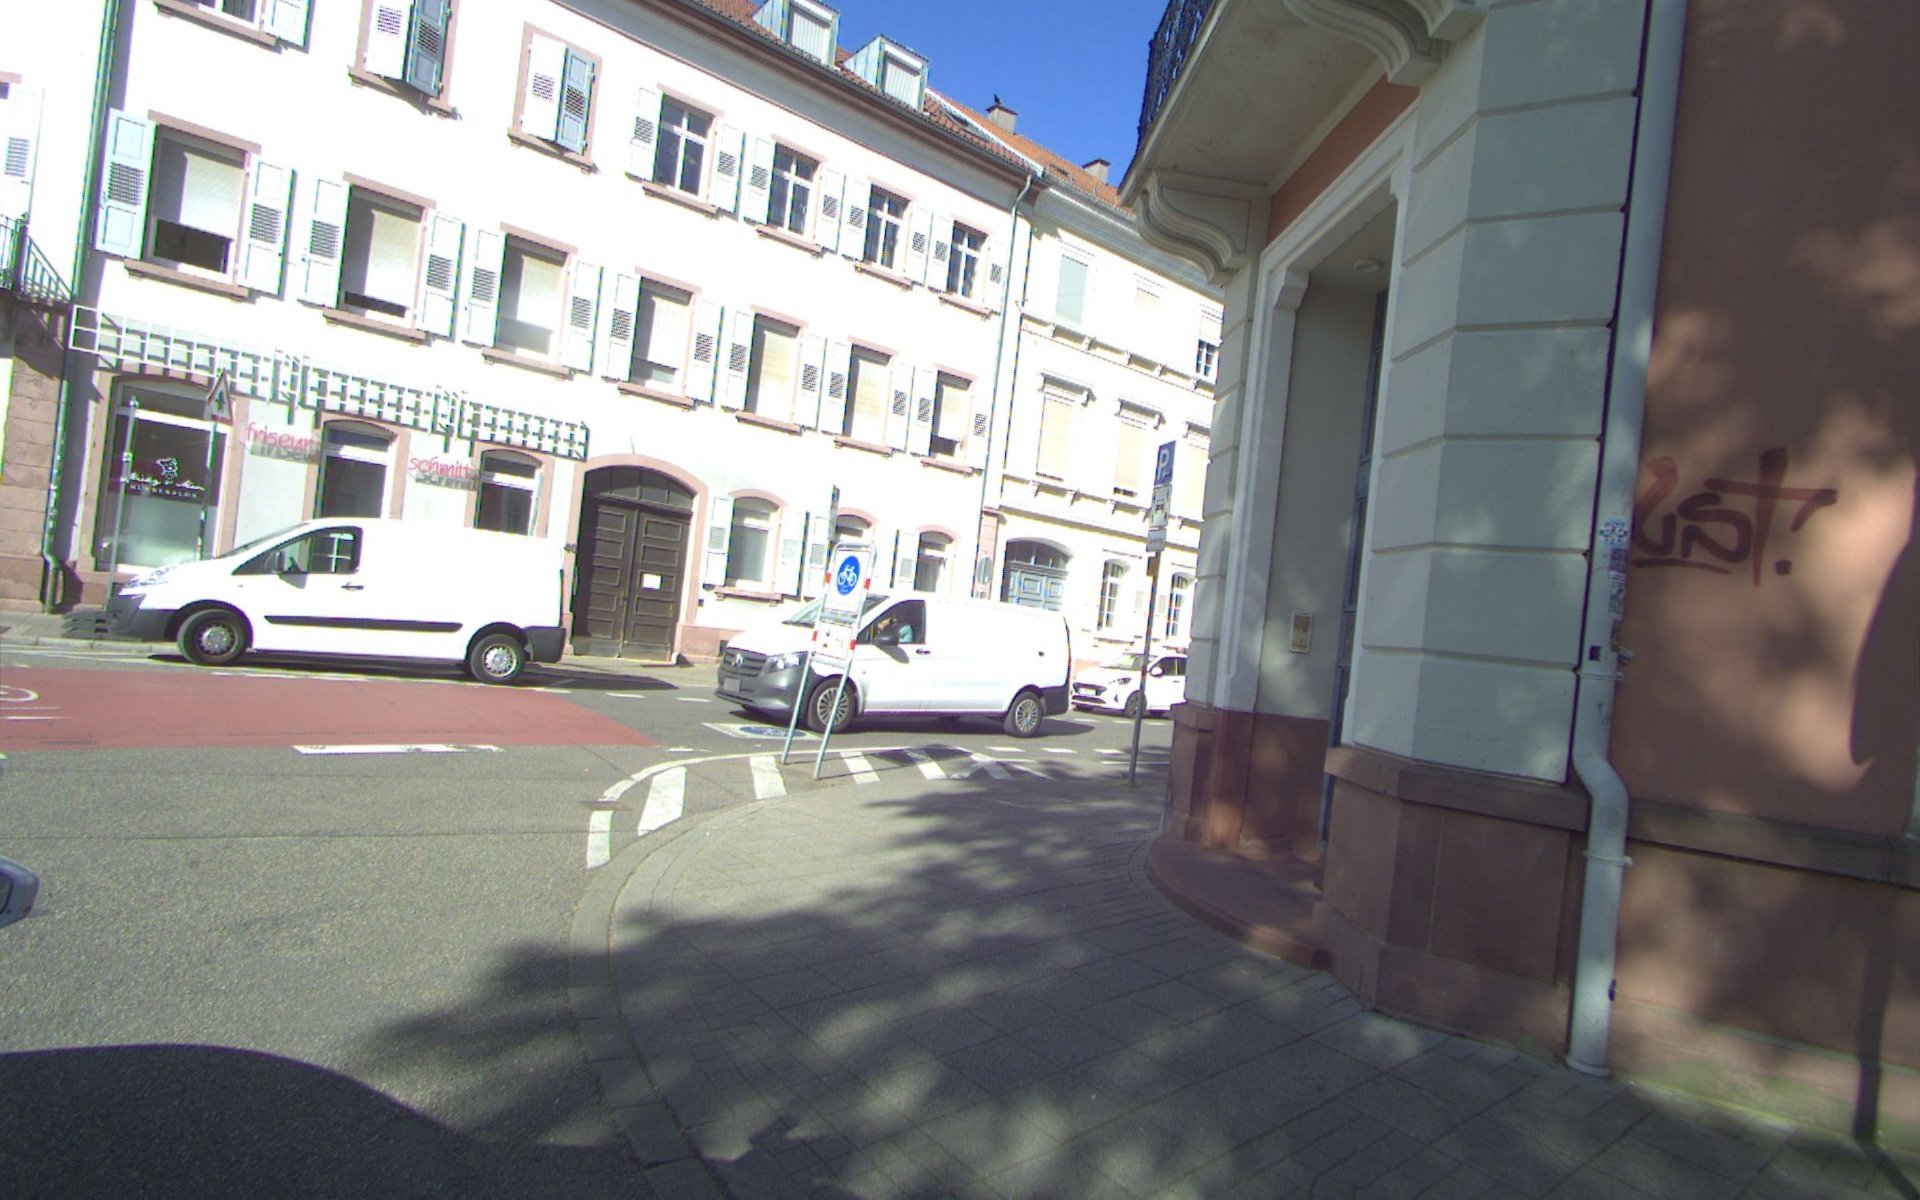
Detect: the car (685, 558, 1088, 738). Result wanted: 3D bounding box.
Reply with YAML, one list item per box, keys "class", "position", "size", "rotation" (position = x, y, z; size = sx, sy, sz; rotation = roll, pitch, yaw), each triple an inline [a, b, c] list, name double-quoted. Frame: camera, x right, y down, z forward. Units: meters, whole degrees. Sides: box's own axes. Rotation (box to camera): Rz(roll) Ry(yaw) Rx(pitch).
- class: "car"
  position: [-0.821, 0.772, 14.111]
  size: [5.390, 1.930, 2.083]
  rotation: [8, -2, -43]

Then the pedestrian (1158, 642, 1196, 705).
- class: "pedestrian"
  position: [5.870, 1.986, 27.220]
  size: [0.634, 1.620, 0.578]
  rotation: [7, 0, -39]

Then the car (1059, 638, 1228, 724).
- class: "car"
  position: [4.150, 1.827, 22.524]
  size: [3.610, 1.559, 1.616]
  rotation: [8, -3, -38]

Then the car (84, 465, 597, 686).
- class: "car"
  position: [-7.463, -0.171, 12.633]
  size: [4.980, 1.969, 2.032]
  rotation: [8, -2, -35]

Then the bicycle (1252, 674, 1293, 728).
- class: "bicycle"
  position: [7.809, 2.498, 25.099]
  size: [0.660, 1.213, 1.926]
  rotation: [6, -2, 23]

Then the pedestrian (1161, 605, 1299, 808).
- class: "pedestrian"
  position: [2.599, 1.021, 9.651]
  size: [0.819, 1.783, 0.750]
  rotation: [6, -4, 40]

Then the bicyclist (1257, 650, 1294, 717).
- class: "bicyclist"
  position: [7.887, 2.083, 25.153]
  size: [0.627, 1.565, 1.025]
  rotation: [6, -1, 24]
